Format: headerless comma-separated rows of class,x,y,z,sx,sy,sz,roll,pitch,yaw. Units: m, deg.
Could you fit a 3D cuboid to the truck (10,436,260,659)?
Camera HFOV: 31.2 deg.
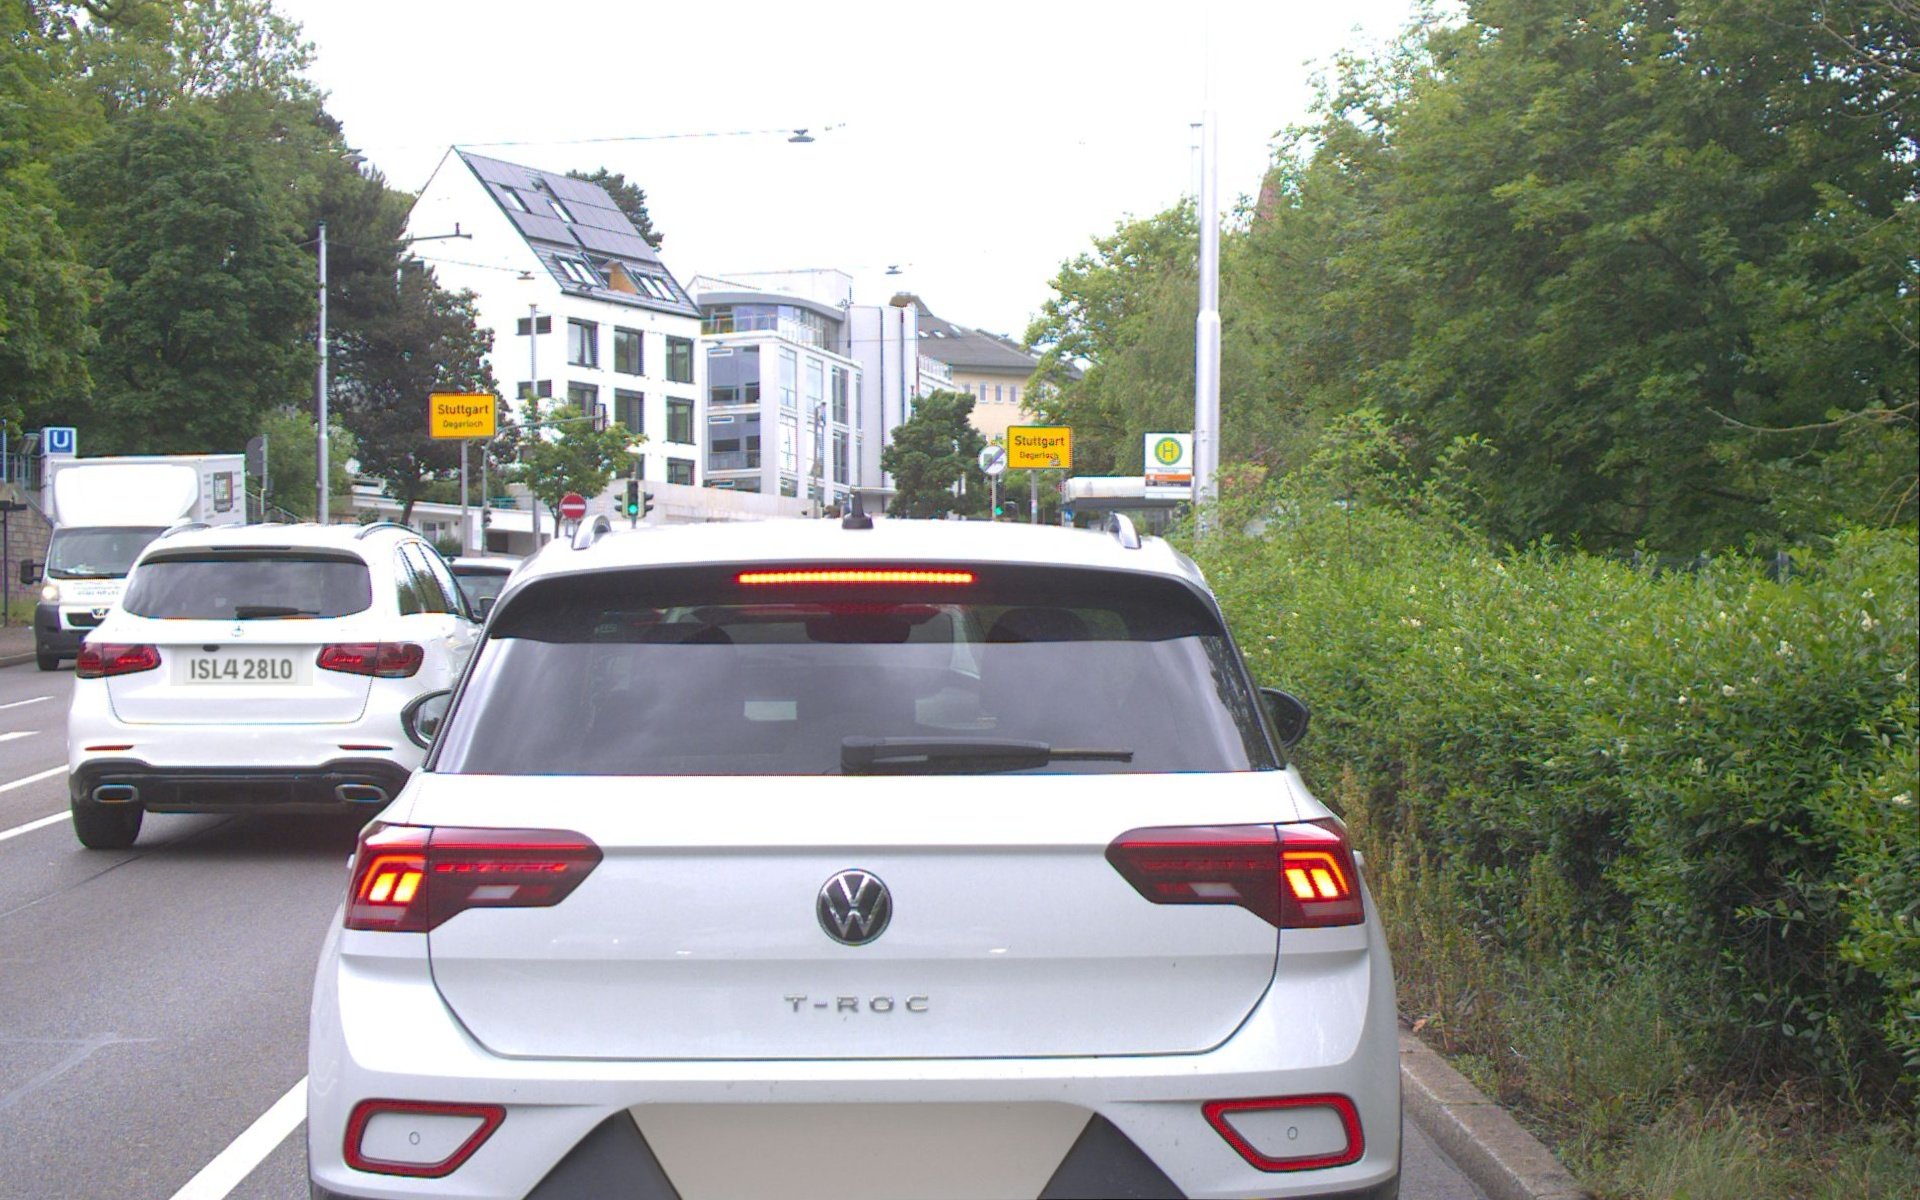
truck,-12.163,-0.760,51.205,2.293,3.040,6.980,-1,1,-3

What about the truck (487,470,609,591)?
truck,-9.632,-1.617,80.730,2.362,2.697,4.478,-2,1,-1

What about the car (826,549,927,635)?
car,-1.573,-0.176,64.690,1.829,1.520,4.000,-1,1,-1

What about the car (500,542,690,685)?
car,-4.135,0.114,39.468,1.829,1.520,4.000,-1,1,-1

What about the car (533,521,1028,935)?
car,-0.724,0.448,14.908,1.829,1.520,4.000,-1,1,-1

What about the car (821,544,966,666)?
car,-0.895,0.028,45.688,1.829,1.520,4.000,-1,1,-1

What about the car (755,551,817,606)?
car,-5.517,-0.691,109.107,1.815,1.651,3.929,-2,1,-1

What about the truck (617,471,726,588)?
truck,-7.124,-1.743,85.341,2.362,2.772,4.478,-2,1,-1

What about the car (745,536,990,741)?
car,-0.751,0.258,28.030,1.829,1.520,4.000,-1,1,-1

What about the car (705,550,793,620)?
car,-4.800,-0.361,78.523,1.829,1.520,4.000,-1,1,-1

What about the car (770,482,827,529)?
car,-5.472,-3.203,116.713,1.829,1.520,4.000,-1,1,-1

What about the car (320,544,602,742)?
car,-4.058,0.301,28.546,1.829,1.492,4.000,-1,1,-1

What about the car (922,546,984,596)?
car,-0.240,-0.934,109.077,1.829,1.520,4.000,-1,1,-1

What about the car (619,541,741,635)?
car,-4.751,-0.230,58.790,1.829,1.520,4.000,-1,1,-1

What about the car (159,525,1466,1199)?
car,-0.252,0.629,6.833,1.829,1.520,4.000,0,1,-1

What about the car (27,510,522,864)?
car,-3.497,0.381,18.266,1.918,1.664,4.000,0,1,-1
